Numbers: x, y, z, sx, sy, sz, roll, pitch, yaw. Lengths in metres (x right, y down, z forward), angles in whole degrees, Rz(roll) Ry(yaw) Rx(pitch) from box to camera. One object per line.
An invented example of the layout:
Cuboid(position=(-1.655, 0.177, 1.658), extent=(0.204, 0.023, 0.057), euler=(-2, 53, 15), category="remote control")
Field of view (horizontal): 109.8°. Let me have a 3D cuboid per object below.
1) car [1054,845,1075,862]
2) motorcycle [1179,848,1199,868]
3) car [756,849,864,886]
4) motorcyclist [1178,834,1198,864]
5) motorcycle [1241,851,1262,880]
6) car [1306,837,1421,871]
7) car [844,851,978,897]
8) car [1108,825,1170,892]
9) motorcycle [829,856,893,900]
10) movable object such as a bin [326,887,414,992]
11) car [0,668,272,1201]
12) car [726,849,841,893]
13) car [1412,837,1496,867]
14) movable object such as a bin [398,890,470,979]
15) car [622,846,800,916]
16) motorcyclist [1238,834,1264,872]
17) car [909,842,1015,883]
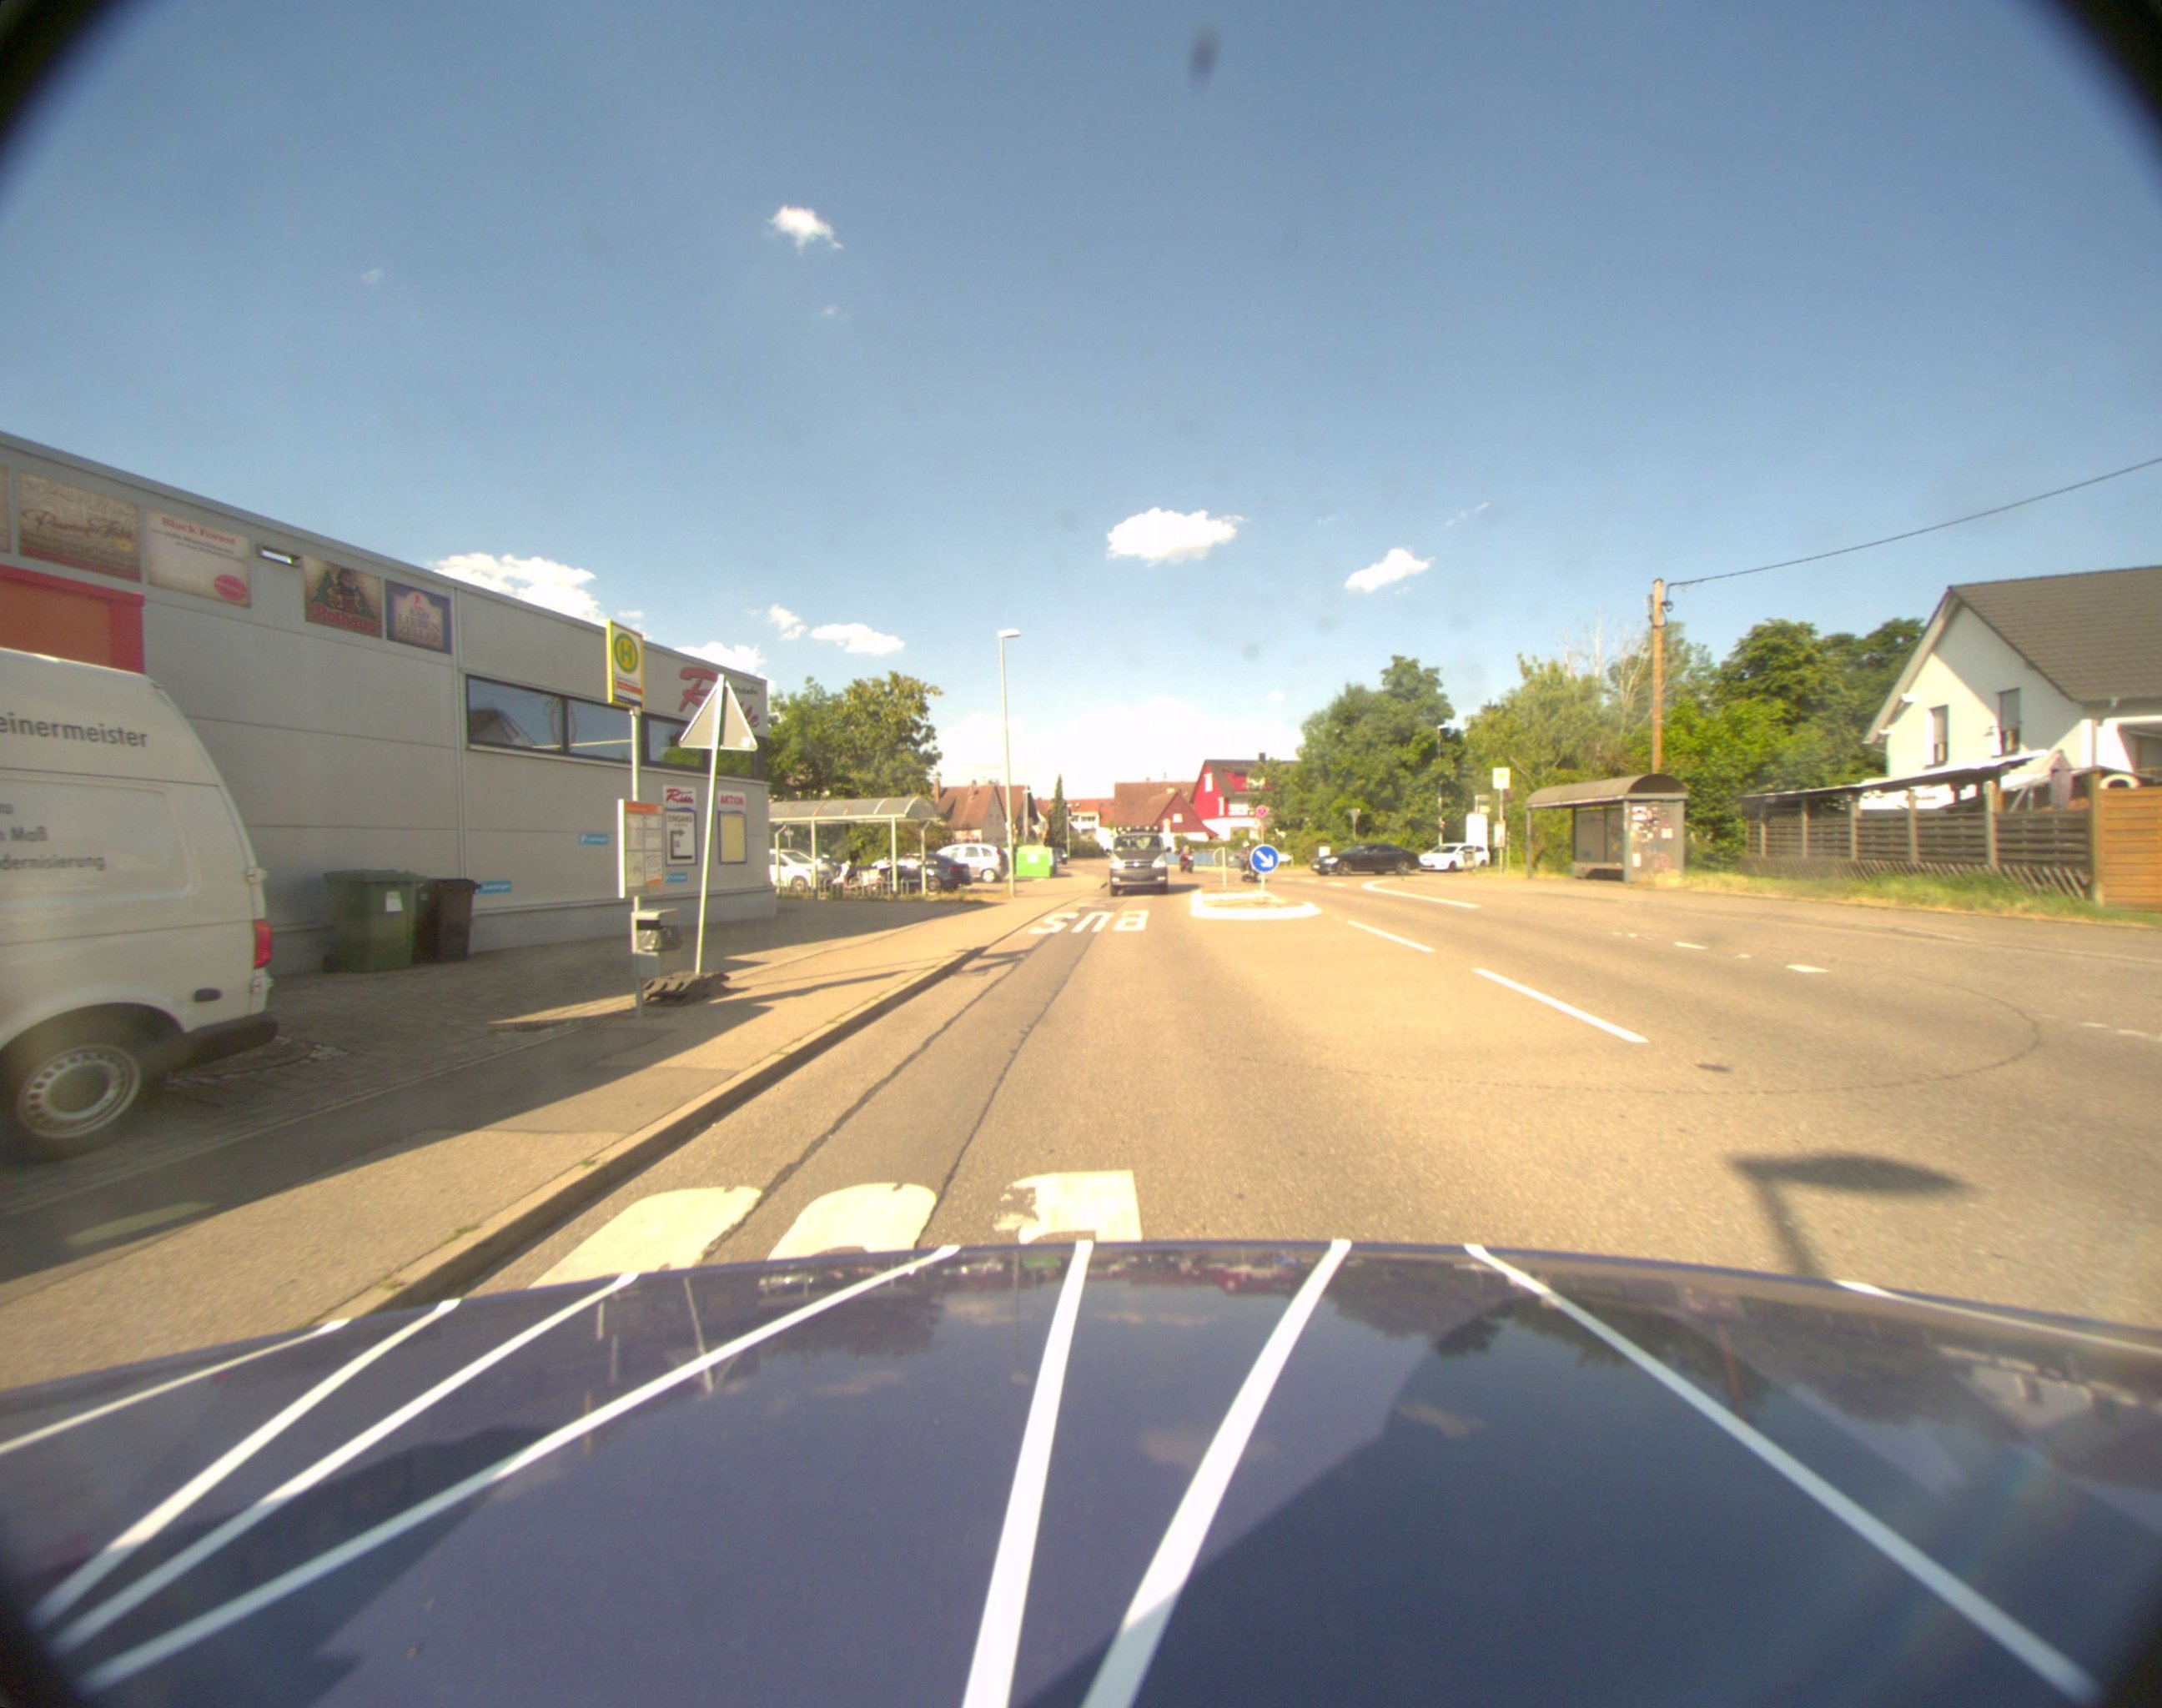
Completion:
Cuboid(position=(-1.695, -0.086, 74.823), extent=(1.973, 1.647, 3.998), euler=(1, 1, -2), category="car")
Cuboid(position=(5.707, 0.209, 40.174), extent=(0.540, 1.007, 2.026), euler=(-3, 1, -5), category="motorcycle")
Cuboid(position=(-11.478, 0.567, 32.268), extent=(3.947, 1.440, 1.683), euler=(0, 2, 7), category="car")
Cuboid(position=(5.649, -0.267, 40.225), extent=(0.738, 1.518, 1.016), euler=(-4, 2, -5), category="motorcyclist")
Cuboid(position=(6.588, 0.426, 29.463), extent=(0.525, 1.007, 2.028), euler=(-3, 1, 6), category="motorcycle")
Cuboid(position=(12.840, -0.025, 34.599), extent=(4.848, 1.423, 1.768), euler=(-1, 2, -18), category="car")
Cuboid(position=(-5.645, 0.627, 25.434), extent=(4.071, 1.409, 1.626), euler=(1, 2, 9), category="car")
Cuboid(position=(1.917, 0.120, 25.374), extent=(1.819, 1.988, 4.822), euler=(-1, 1, 4), category="car")
Cuboid(position=(-6.734, 0.733, 23.302), extent=(1.831, 1.316, 0.640), euler=(1, 1, -11), category="motorcycle")
Cuboid(position=(-7.420, 0.871, 7.942), extent=(0.429, 1.036, 0.490), euler=(-1, 1, 14), category="movable object such as a bin")
Cuboid(position=(-5.772, 0.355, 1.877), extent=(1.840, 2.361, 5.179), euler=(2, 1, 3), category="car")
Cuboid(position=(-10.288, 0.571, 26.382), extent=(3.442, 1.409, 1.499), euler=(1, 2, 11), category="car")
Cuboid(position=(19.600, -0.131, 39.920), extent=(4.282, 1.483, 1.857), euler=(-1, 2, -30), category="car")
Cuboid(position=(-7.314, 0.894, 8.599), extent=(0.429, 0.960, 0.431), euler=(-1, 1, 14), category="movable object such as a bin")
Cuboid(position=(-8.452, 0.562, 17.392), extent=(3.560, 1.449, 1.500), euler=(1, 1, 16), category="car")
Cuboid(position=(6.563, -0.034, 29.357), extent=(0.804, 1.428, 1.037), euler=(-2, 1, 6), category="motorcyclist")
Cuboid(position=(-4.848, 0.330, 31.200), extent=(3.947, 1.594, 1.683), euler=(0, 2, 7), category="car")
